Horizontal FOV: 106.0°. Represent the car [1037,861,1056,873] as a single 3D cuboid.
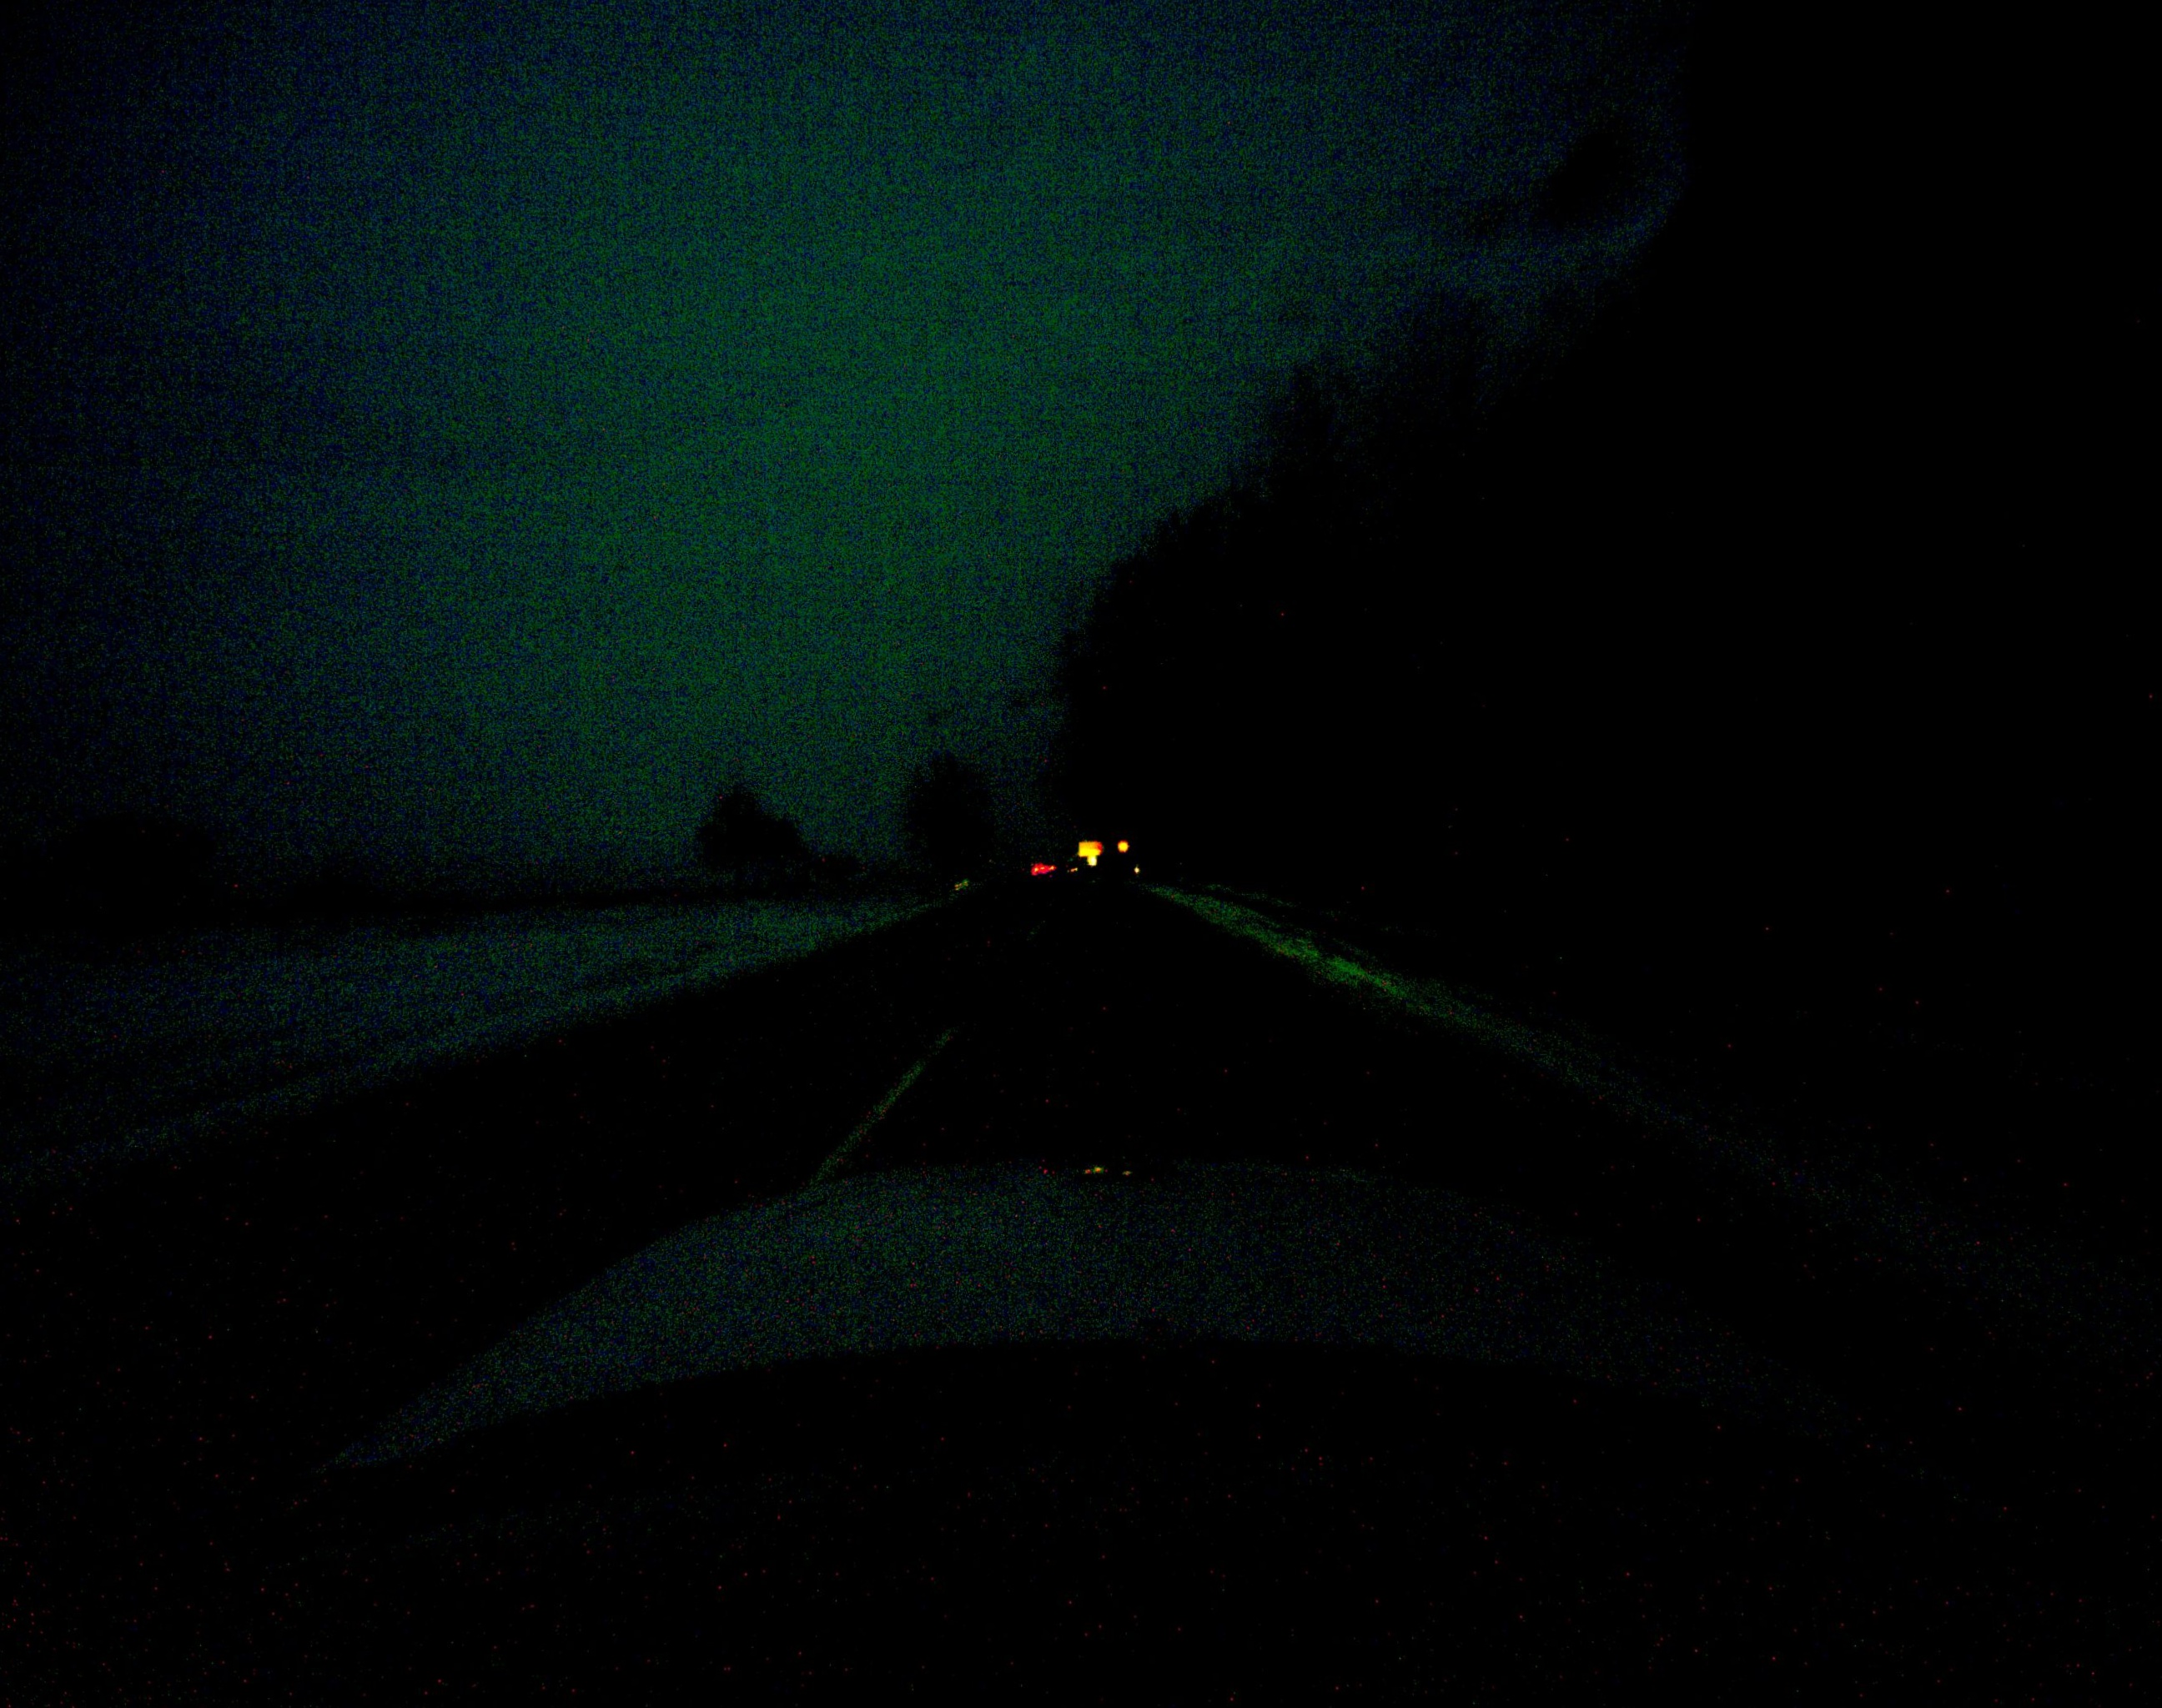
[{"bbox_3d":[-4.247,1.591,99.815,1.914,1.277,4.003,-3,0,3],"label":"car"}]
